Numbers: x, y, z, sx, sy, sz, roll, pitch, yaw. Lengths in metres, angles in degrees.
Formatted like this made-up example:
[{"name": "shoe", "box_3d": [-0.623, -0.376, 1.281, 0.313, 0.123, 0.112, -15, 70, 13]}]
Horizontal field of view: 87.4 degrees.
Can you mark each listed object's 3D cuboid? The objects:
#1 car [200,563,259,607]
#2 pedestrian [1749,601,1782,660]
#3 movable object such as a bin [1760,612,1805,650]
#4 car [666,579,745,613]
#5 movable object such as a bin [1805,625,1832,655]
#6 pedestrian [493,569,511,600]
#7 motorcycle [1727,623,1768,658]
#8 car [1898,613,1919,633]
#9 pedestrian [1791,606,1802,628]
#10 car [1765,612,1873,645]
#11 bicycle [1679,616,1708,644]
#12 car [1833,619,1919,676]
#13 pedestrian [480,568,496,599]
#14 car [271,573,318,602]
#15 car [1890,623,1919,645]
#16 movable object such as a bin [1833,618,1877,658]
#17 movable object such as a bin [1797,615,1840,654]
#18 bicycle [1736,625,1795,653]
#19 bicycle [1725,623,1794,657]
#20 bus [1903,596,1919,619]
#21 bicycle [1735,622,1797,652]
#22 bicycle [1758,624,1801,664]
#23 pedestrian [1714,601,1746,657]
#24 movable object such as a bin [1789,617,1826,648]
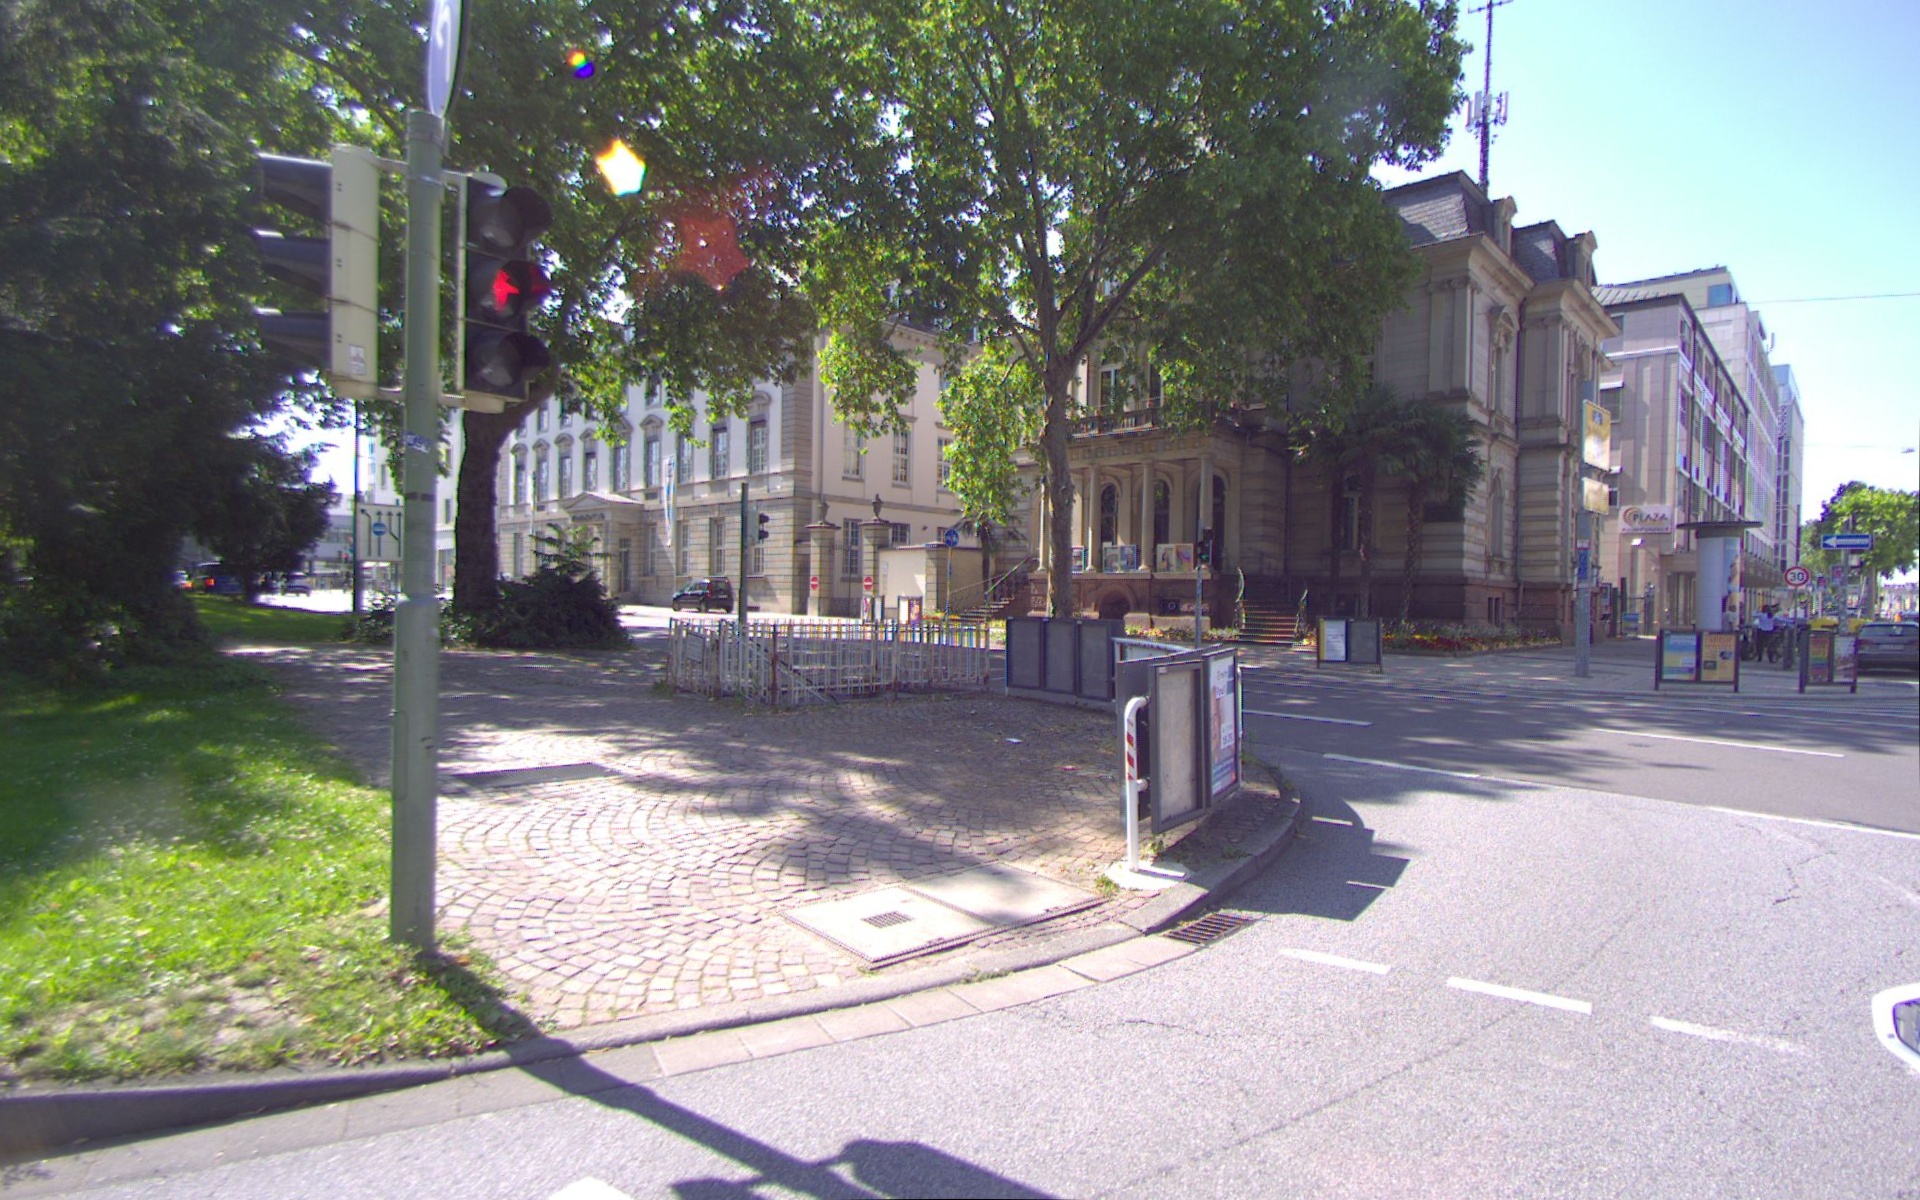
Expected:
[{"name": "car", "box_3d": [-37.521, -0.783, 51.557, 1.922, 2.197, 4.004, 0, 2, -44]}, {"name": "pedestrian", "box_3d": [23.903, 0.904, 29.807, 0.686, 1.717, 0.687, 3, -1, -45]}, {"name": "movable object such as a bin", "box_3d": [34.209, 1.270, 41.761, 1.353, 1.470, 1.198, -1, 3, -42]}, {"name": "car", "box_3d": [-12.090, -0.230, 47.651, 1.922, 1.515, 4.004, 0, 2, -44]}, {"name": "movable object such as a bin", "box_3d": [33.889, 1.584, 39.662, 0.713, 1.113, 0.654, 3, 3, 35]}, {"name": "pedestrian", "box_3d": [-27.350, -0.919, 59.951, 0.824, 1.811, 0.692, 1, 0, 43]}, {"name": "motorcycle", "box_3d": [23.940, 1.242, 30.517, 2.142, 1.011, 0.450, 2, 1, -39]}, {"name": "car", "box_3d": [73.899, 1.794, 77.777, 1.723, 1.460, 3.978, 1, 0, 42]}, {"name": "pedestrian", "box_3d": [62.670, 1.280, 75.230, 0.558, 1.679, 0.634, 1, 0, 35]}, {"name": "car", "box_3d": [44.708, 1.444, 52.394, 1.899, 1.515, 4.053, 1, 1, -6]}, {"name": "bicycle", "box_3d": [29.704, 1.189, 40.695, 0.481, 1.076, 2.026, 1, 0, 22]}, {"name": "car", "box_3d": [25.308, 1.253, 27.523, 1.916, 1.372, 4.224, 0, 0, 43]}, {"name": "pedestrian", "box_3d": [-30.980, -1.071, 65.936, 0.691, 2.040, 0.826, 2, -1, -39]}, {"name": "car", "box_3d": [-42.845, -0.815, 64.614, 1.838, 1.758, 4.004, 0, 2, -44]}, {"name": "car", "box_3d": [67.834, 2.478, 71.839, 1.842, 1.460, 3.980, 1, -2, 42]}, {"name": "movable object such as a bin", "box_3d": [35.609, 1.481, 39.970, 1.427, 1.470, 1.113, -1, 3, -42]}, {"name": "movable object such as a bin", "box_3d": [34.875, 1.370, 40.809, 1.427, 1.470, 1.113, -1, 3, -42]}, {"name": "bicycle", "box_3d": [32.310, 1.550, 40.302, 1.821, 1.087, 0.554, -1, -3, 40]}, {"name": "bicycle", "box_3d": [30.368, 1.507, 38.193, 1.932, 1.135, 0.555, 3, 1, 32]}, {"name": "bus", "box_3d": [154.663, 1.199, 162.211, 2.737, 3.653, 8.933, 1, 0, 39]}, {"name": "bicycle", "box_3d": [33.151, 1.528, 41.353, 1.943, 1.135, 0.507, 2, 0, 40]}, {"name": "bicycle", "box_3d": [24.258, 1.317, 29.736, 2.223, 1.135, 0.426, 3, 0, -37]}, {"name": "pedestrian", "box_3d": [23.640, 0.881, 30.834, 0.929, 1.687, 0.544, 2, -1, -39]}, {"name": "movable object such as a bin", "box_3d": [38.756, 1.466, 45.952, 1.195, 1.317, 1.073, 4, 3, 43]}]
